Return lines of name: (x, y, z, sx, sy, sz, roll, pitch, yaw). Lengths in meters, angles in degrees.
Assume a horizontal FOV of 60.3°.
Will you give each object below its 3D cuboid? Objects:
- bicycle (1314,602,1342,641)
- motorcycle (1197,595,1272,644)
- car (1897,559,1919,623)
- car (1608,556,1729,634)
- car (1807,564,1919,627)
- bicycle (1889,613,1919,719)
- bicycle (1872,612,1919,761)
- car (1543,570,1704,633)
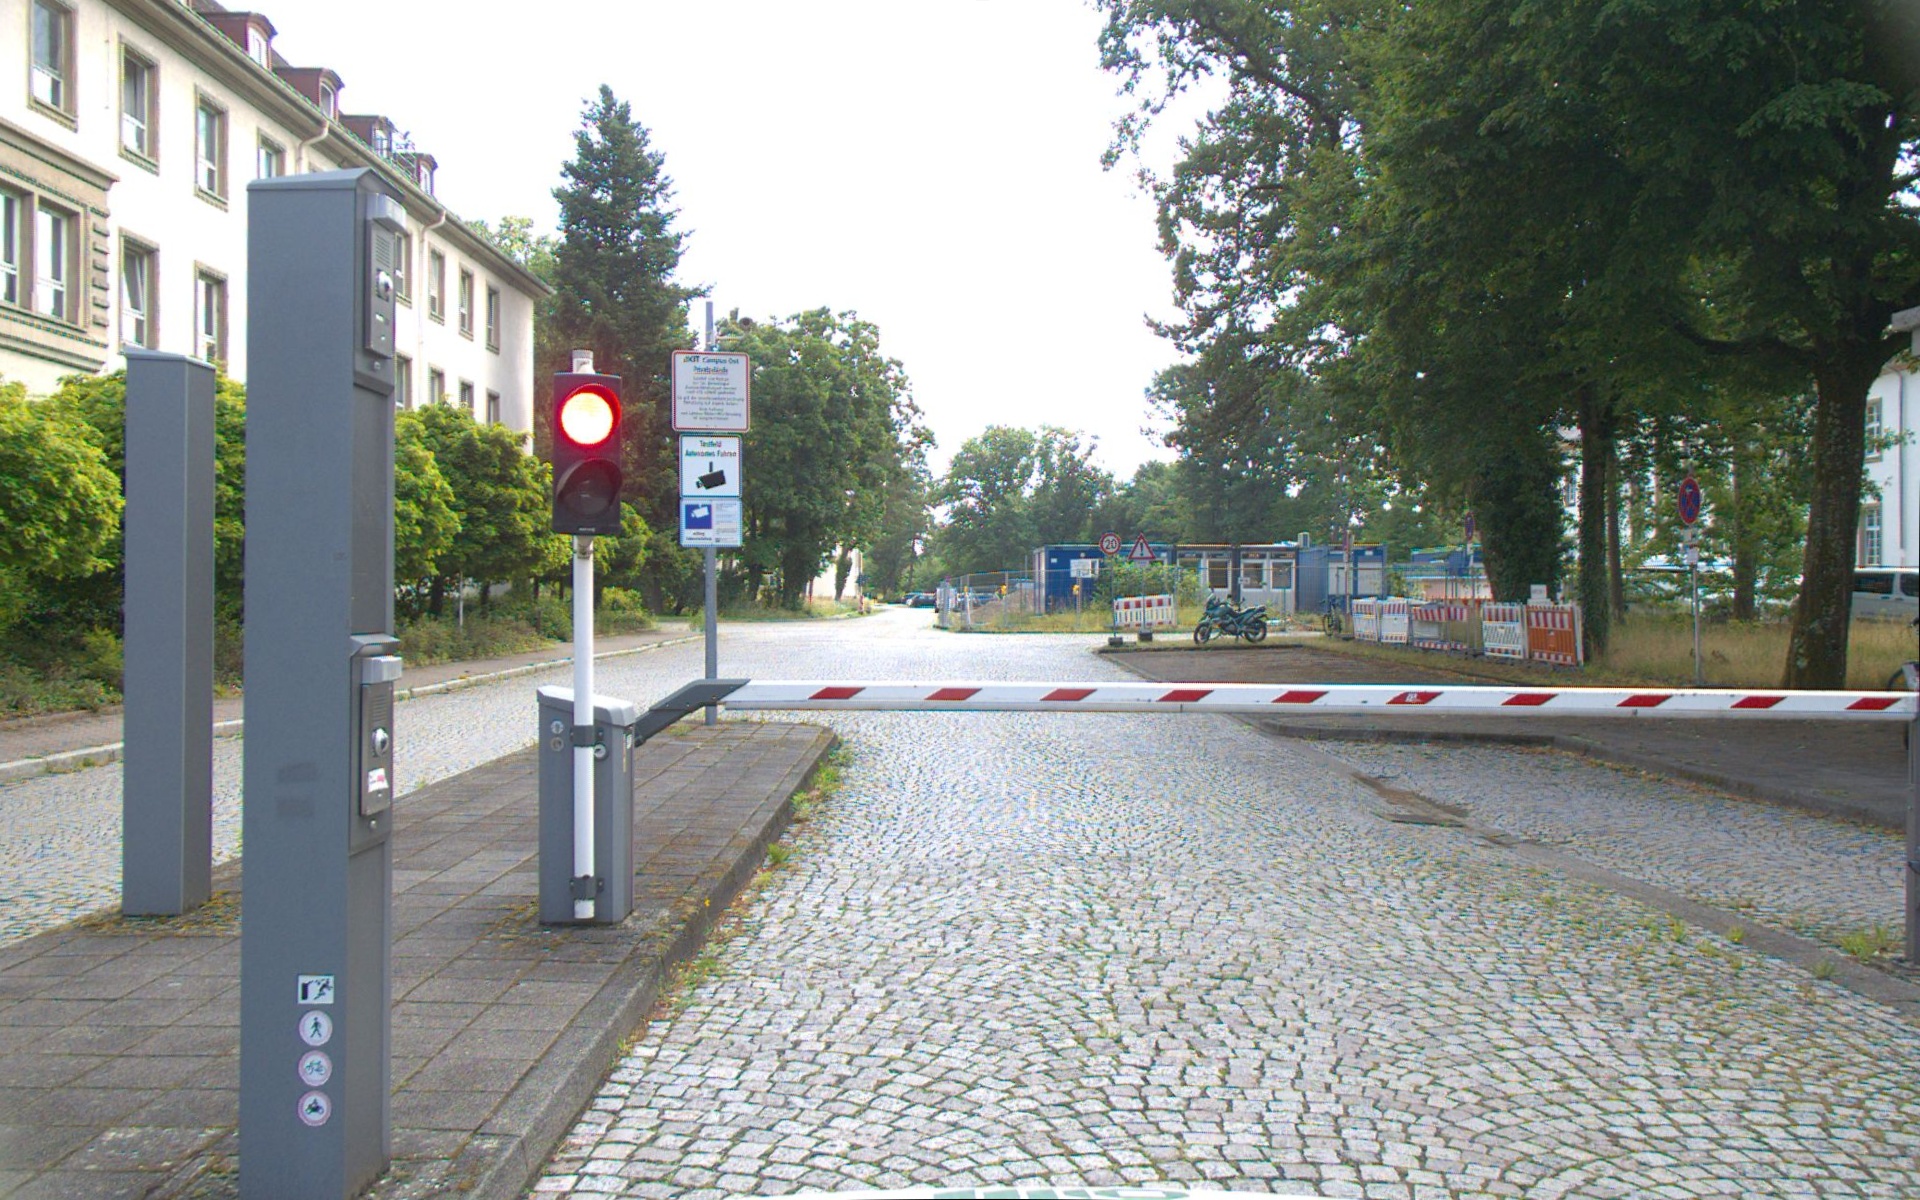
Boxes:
bicycle: (10.166, 0.603, 45.701, 0.325, 1.025, 1.725, 0, -2, -1)
motorcycle: (7.326, 0.524, 44.186, 1.917, 1.215, 0.461, -2, 5, -3)
car: (28.602, -0.256, 45.350, 1.971, 1.820, 4.795, 1, -1, -28)
car: (23.508, -0.122, 55.118, 1.952, 2.466, 5.358, 0, -1, 3)
car: (25.870, -0.109, 44.998, 1.971, 1.679, 4.795, 1, -1, -28)
bicycle: (10.305, 0.696, 17.051, 0.494, 1.105, 1.584, 0, 0, -3)
bicycle: (8.435, 0.698, 14.063, 1.359, 1.191, 0.431, -3, 1, -23)
car: (20.214, 0.058, 50.545, 4.132, 1.852, 2.000, 0, -1, 1)
